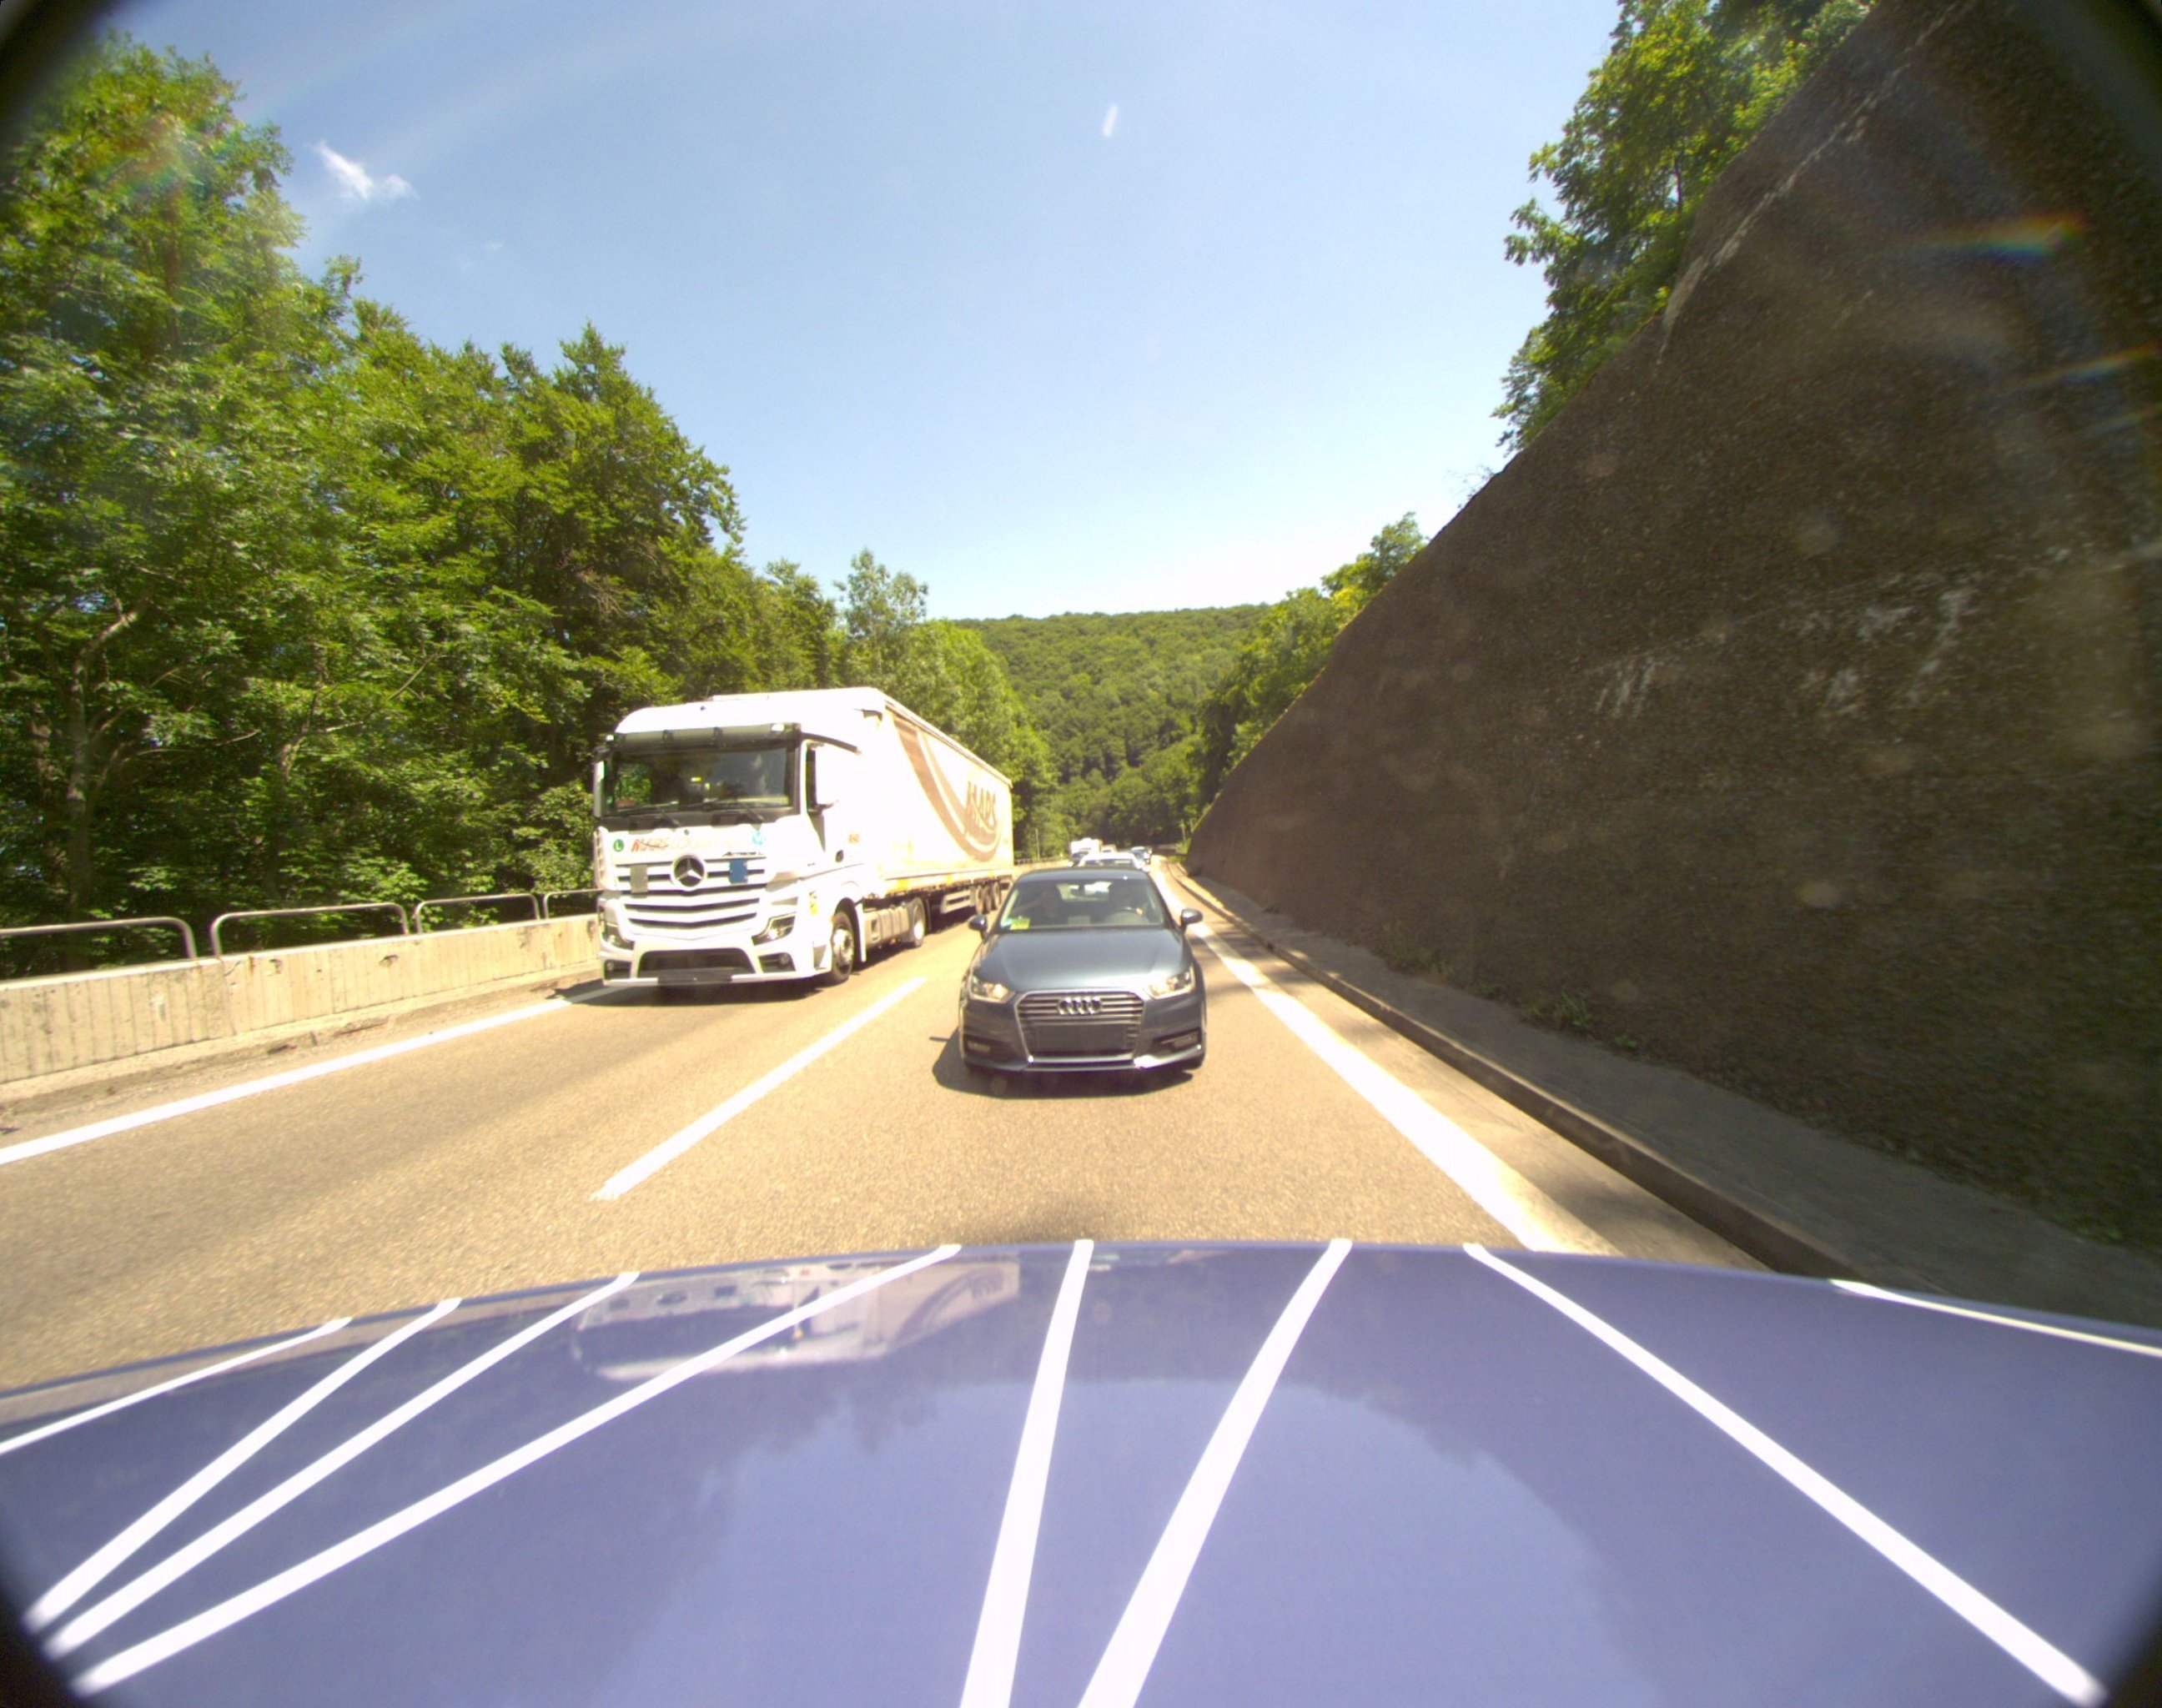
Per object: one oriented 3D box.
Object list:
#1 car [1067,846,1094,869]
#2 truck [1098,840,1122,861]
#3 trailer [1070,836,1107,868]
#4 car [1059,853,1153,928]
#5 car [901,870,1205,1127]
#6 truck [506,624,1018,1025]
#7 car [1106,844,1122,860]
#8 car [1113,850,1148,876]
[{"bbox_3d":[0.012,0.262,61.820,1.998,1.652,4.000,-3,0,1],"label":"car"},{"bbox_3d":[3.598,-0.444,93.120,2.441,2.395,6.815,-3,0,6],"label":"truck"},{"bbox_3d":[0.792,-0.201,69.306,2.526,2.694,9.507,-2,0,5],"label":"trailer"},{"bbox_3d":[0.699,0.770,17.799,1.754,1.460,3.984,-3,0,7],"label":"car"},{"bbox_3d":[-0.008,0.912,6.551,1.755,1.350,4.123,-2,0,5],"label":"car"},{"bbox_3d":[-4.093,-0.352,16.392,2.968,4.108,16.709,-3,0,3],"label":"truck"},{"bbox_3d":[4.397,-0.244,100.979,1.998,2.002,4.000,-3,0,1],"label":"car"},{"bbox_3d":[2.854,0.491,44.451,1.905,1.430,3.869,-2,0,3],"label":"car"}]
